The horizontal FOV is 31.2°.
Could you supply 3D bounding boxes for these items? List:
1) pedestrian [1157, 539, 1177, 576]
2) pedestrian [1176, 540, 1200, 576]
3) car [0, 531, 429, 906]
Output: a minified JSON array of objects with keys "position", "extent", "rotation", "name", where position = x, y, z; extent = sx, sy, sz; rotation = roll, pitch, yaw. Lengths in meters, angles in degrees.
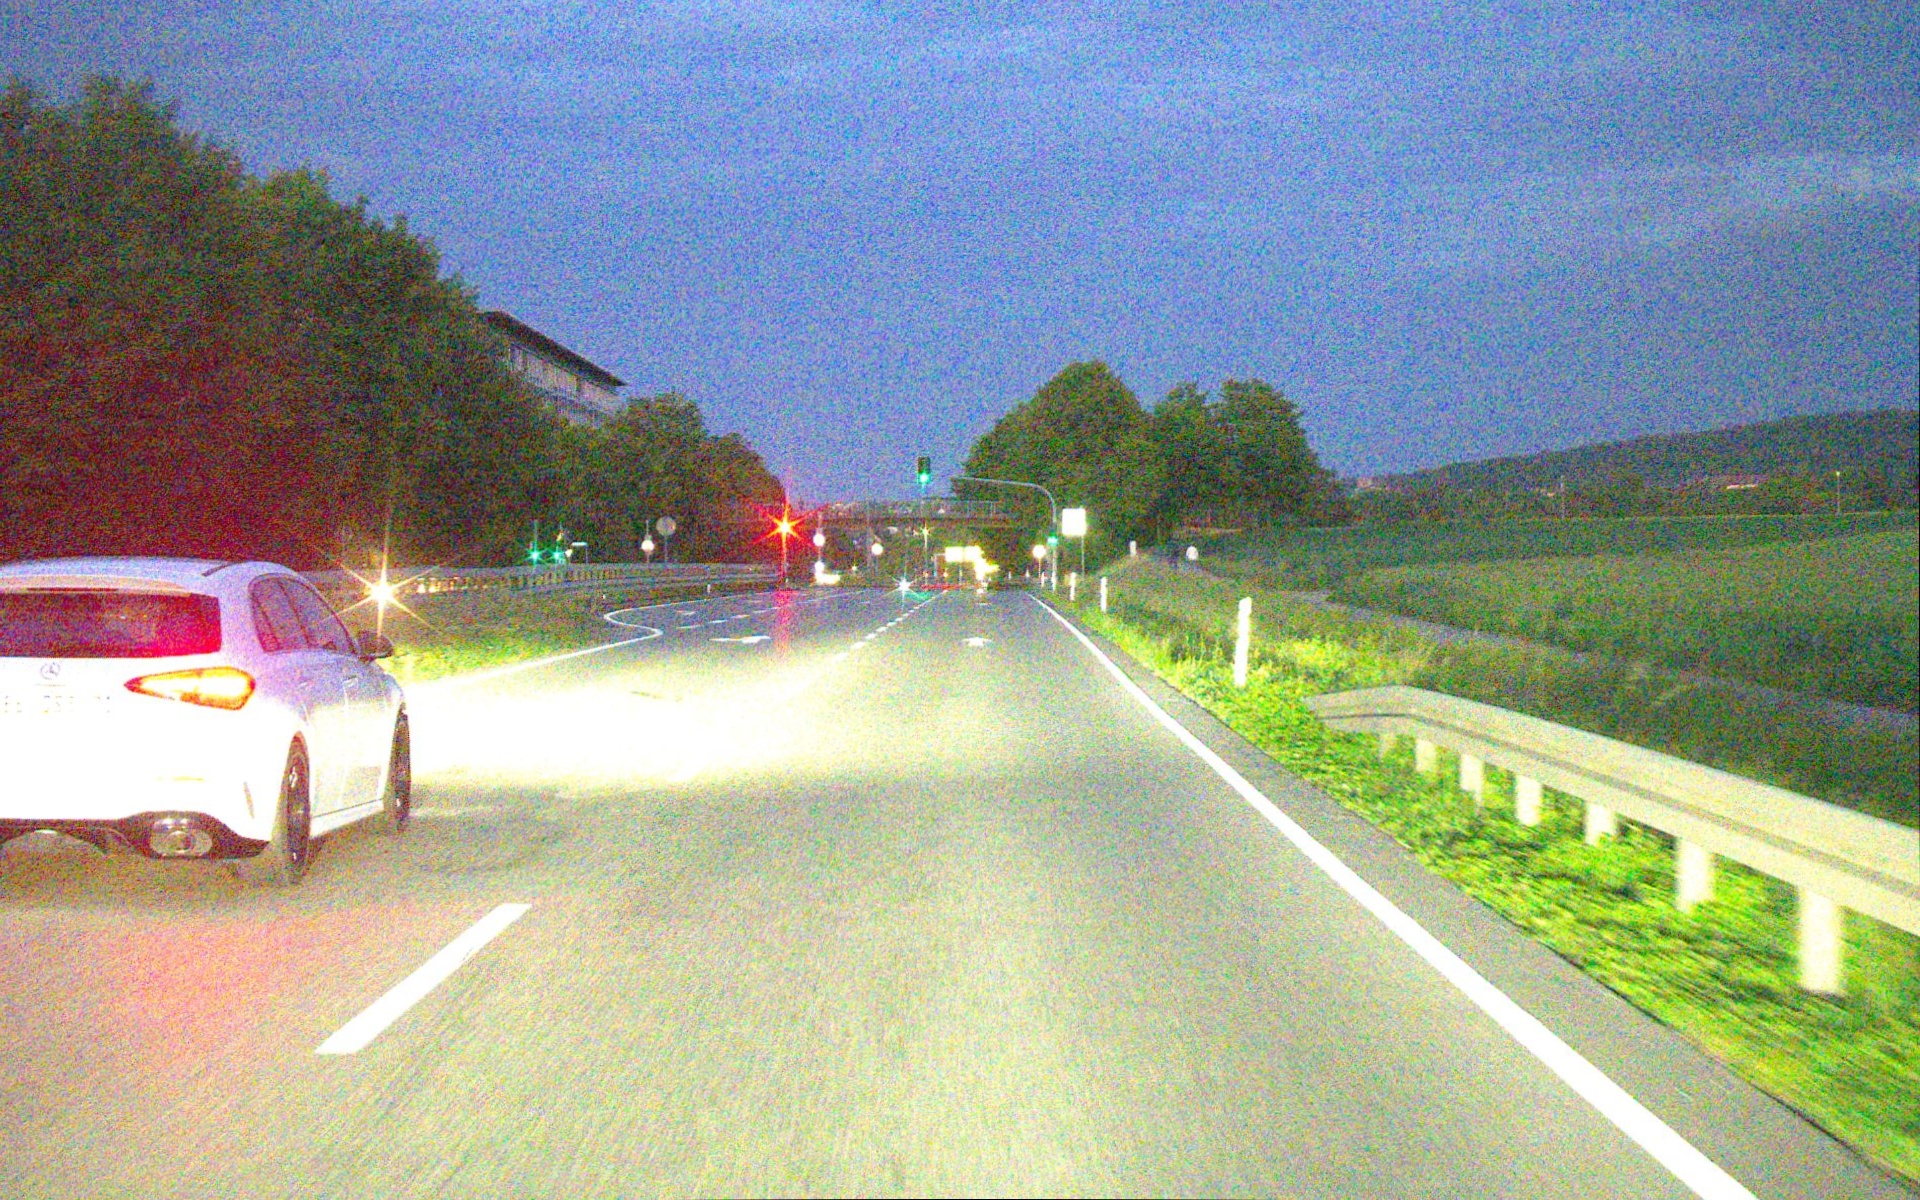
[{"position":[10.148,-2.096,168.546],"extent":[0.922,1.787,1.106],"rotation":[1,1,1],"name":"pedestrian"},{"position":[11.178,-2.052,168.574],"extent":[1.090,1.717,1.260],"rotation":[1,0,0],"name":"pedestrian"},{"position":[-3.607,0.432,16.043],"extent":[1.642,1.485,4.580],"rotation":[1,1,-1],"name":"car"}]
